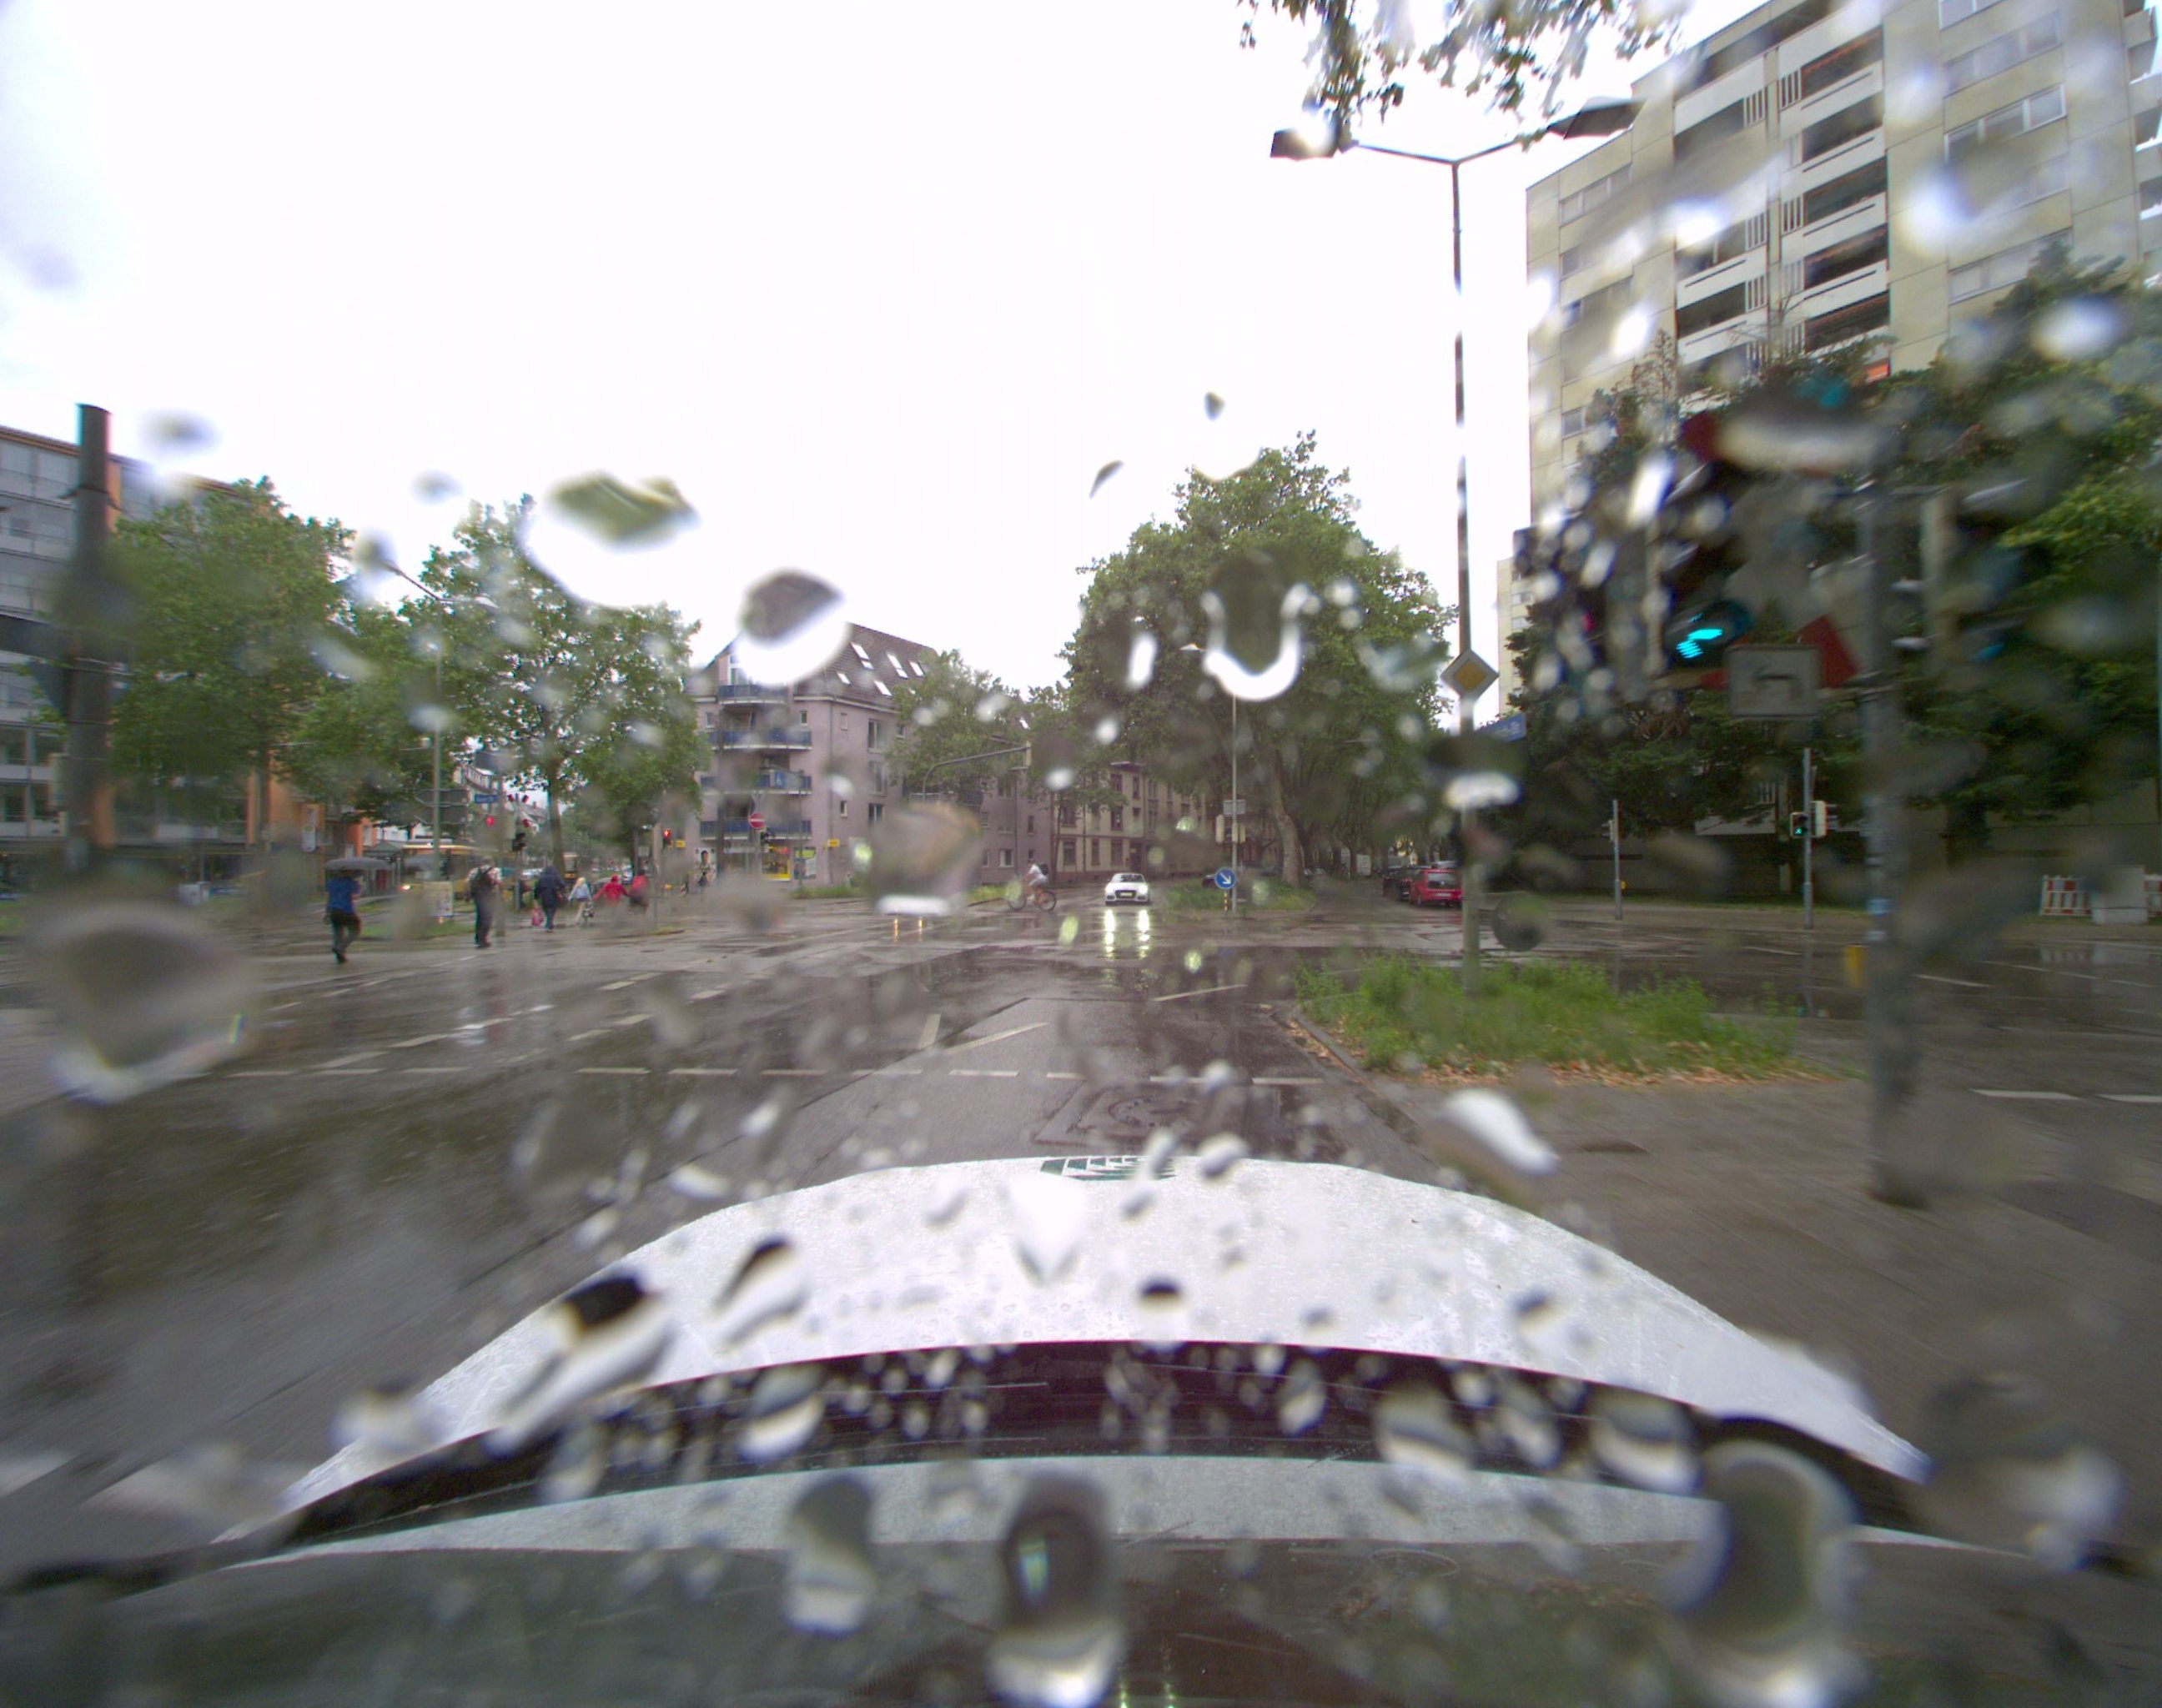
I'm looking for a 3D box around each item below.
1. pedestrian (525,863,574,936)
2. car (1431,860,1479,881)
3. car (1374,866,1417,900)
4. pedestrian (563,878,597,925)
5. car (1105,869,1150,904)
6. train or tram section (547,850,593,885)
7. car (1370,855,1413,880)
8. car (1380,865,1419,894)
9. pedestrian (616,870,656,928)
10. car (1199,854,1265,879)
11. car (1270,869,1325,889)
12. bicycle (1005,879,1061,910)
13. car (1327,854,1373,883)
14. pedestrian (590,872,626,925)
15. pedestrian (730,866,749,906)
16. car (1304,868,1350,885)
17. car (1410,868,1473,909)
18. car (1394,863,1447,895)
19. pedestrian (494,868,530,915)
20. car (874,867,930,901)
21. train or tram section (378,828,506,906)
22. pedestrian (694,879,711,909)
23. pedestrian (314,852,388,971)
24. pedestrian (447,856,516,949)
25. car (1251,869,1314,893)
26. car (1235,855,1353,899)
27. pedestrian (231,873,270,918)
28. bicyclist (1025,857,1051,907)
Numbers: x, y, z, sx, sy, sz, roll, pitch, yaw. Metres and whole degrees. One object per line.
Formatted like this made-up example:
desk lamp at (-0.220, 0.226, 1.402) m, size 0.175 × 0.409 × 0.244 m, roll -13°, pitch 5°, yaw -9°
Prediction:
pedestrian at (-13.115, 1.105, 20.094) m, size 0.844 × 1.698 × 0.680 m, roll -4°, pitch 2°, yaw -42°
car at (36.580, 1.609, 79.643) m, size 3.839 × 1.961 × 1.874 m, roll -1°, pitch -1°, yaw 6°
car at (16.941, 1.538, 44.054) m, size 1.769 × 1.727 × 4.016 m, roll -1°, pitch -1°, yaw 16°
pedestrian at (-14.698, 1.385, 23.912) m, size 0.657 × 1.349 × 0.706 m, roll 0°, pitch -1°, yaw -13°
car at (2.050, 1.388, 35.773) m, size 1.876 × 1.436 × 4.004 m, roll 0°, pitch -1°, yaw 3°
train or tram section at (-55.825, 1.465, 89.299) m, size 2.875 × 3.545 × 15.238 m, roll 0°, pitch -1°, yaw -27°
car at (38.264, 1.692, 100.320) m, size 2.006 × 2.948 × 4.726 m, roll 0°, pitch -1°, yaw -29°
car at (20.732, 1.655, 53.117) m, size 1.908 × 1.806 × 4.016 m, roll -1°, pitch -1°, yaw 15°
pedestrian at (-13.045, 1.304, 23.884) m, size 0.728 × 1.624 × 0.816 m, roll -1°, pitch 0°, yaw -6°
car at (9.297, 0.777, 50.057) m, size 3.839 × 1.486 × 1.722 m, roll -1°, pitch -1°, yaw 14°
car at (16.466, 1.916, 61.927) m, size 3.958 × 1.486 × 2.007 m, roll -1°, pitch -1°, yaw 14°
bicycle at (-1.720, 1.465, 29.291) m, size 1.862 × 1.081 × 0.658 m, roll -1°, pitch -1°, yaw 9°
car at (27.696, 1.490, 83.907) m, size 2.040 × 2.948 × 4.741 m, roll 0°, pitch -1°, yaw -19°
pedestrian at (-13.817, 1.288, 23.804) m, size 0.681 × 1.520 × 0.658 m, roll -1°, pitch -1°, yaw -7°
pedestrian at (-15.948, 1.485, 38.008) m, size 0.791 × 1.855 × 0.676 m, roll 0°, pitch -1°, yaw -22°
car at (22.567, 2.072, 74.914) m, size 3.958 × 1.547 × 2.007 m, roll -1°, pitch -1°, yaw 14°
car at (14.509, 1.334, 32.950) m, size 1.778 × 1.498 × 4.016 m, roll -1°, pitch -1°, yaw 16°
car at (15.549, 1.099, 37.495) m, size 1.770 × 1.348 × 3.945 m, roll 0°, pitch 0°, yaw 16°
pedestrian at (-21.692, 1.418, 31.047) m, size 0.940 × 1.766 × 0.966 m, roll -2°, pitch -2°, yaw 43°
car at (-8.360, 1.374, 38.315) m, size 1.745 × 1.512 × 3.839 m, roll 0°, pitch -1°, yaw 0°
train or tram section at (-36.725, 0.803, 47.634) m, size 2.898 × 3.768 × 17.086 m, roll 0°, pitch -1°, yaw -28°
pedestrian at (-18.173, 1.895, 39.076) m, size 0.653 × 1.396 × 0.774 m, roll 0°, pitch -1°, yaw -33°
pedestrian at (-12.057, 0.914, 13.450) m, size 0.876 × 1.864 × 0.881 m, roll 0°, pitch -1°, yaw -43°
pedestrian at (-11.787, 0.931, 16.036) m, size 0.867 × 1.755 × 0.825 m, roll 0°, pitch -1°, yaw -18°
car at (13.406, 1.796, 54.115) m, size 3.958 × 1.486 × 2.007 m, roll -1°, pitch -1°, yaw 14°
car at (7.601, 0.818, 29.207) m, size 3.958 × 1.486 × 2.007 m, roll -1°, pitch -1°, yaw 14°
pedestrian at (-33.176, 1.641, 32.558) m, size 0.965 × 1.766 × 0.941 m, roll 0°, pitch -2°, yaw -39°
bicyclist at (-1.540, 1.009, 29.249) m, size 0.790 × 1.786 × 0.699 m, roll -1°, pitch -1°, yaw 9°
